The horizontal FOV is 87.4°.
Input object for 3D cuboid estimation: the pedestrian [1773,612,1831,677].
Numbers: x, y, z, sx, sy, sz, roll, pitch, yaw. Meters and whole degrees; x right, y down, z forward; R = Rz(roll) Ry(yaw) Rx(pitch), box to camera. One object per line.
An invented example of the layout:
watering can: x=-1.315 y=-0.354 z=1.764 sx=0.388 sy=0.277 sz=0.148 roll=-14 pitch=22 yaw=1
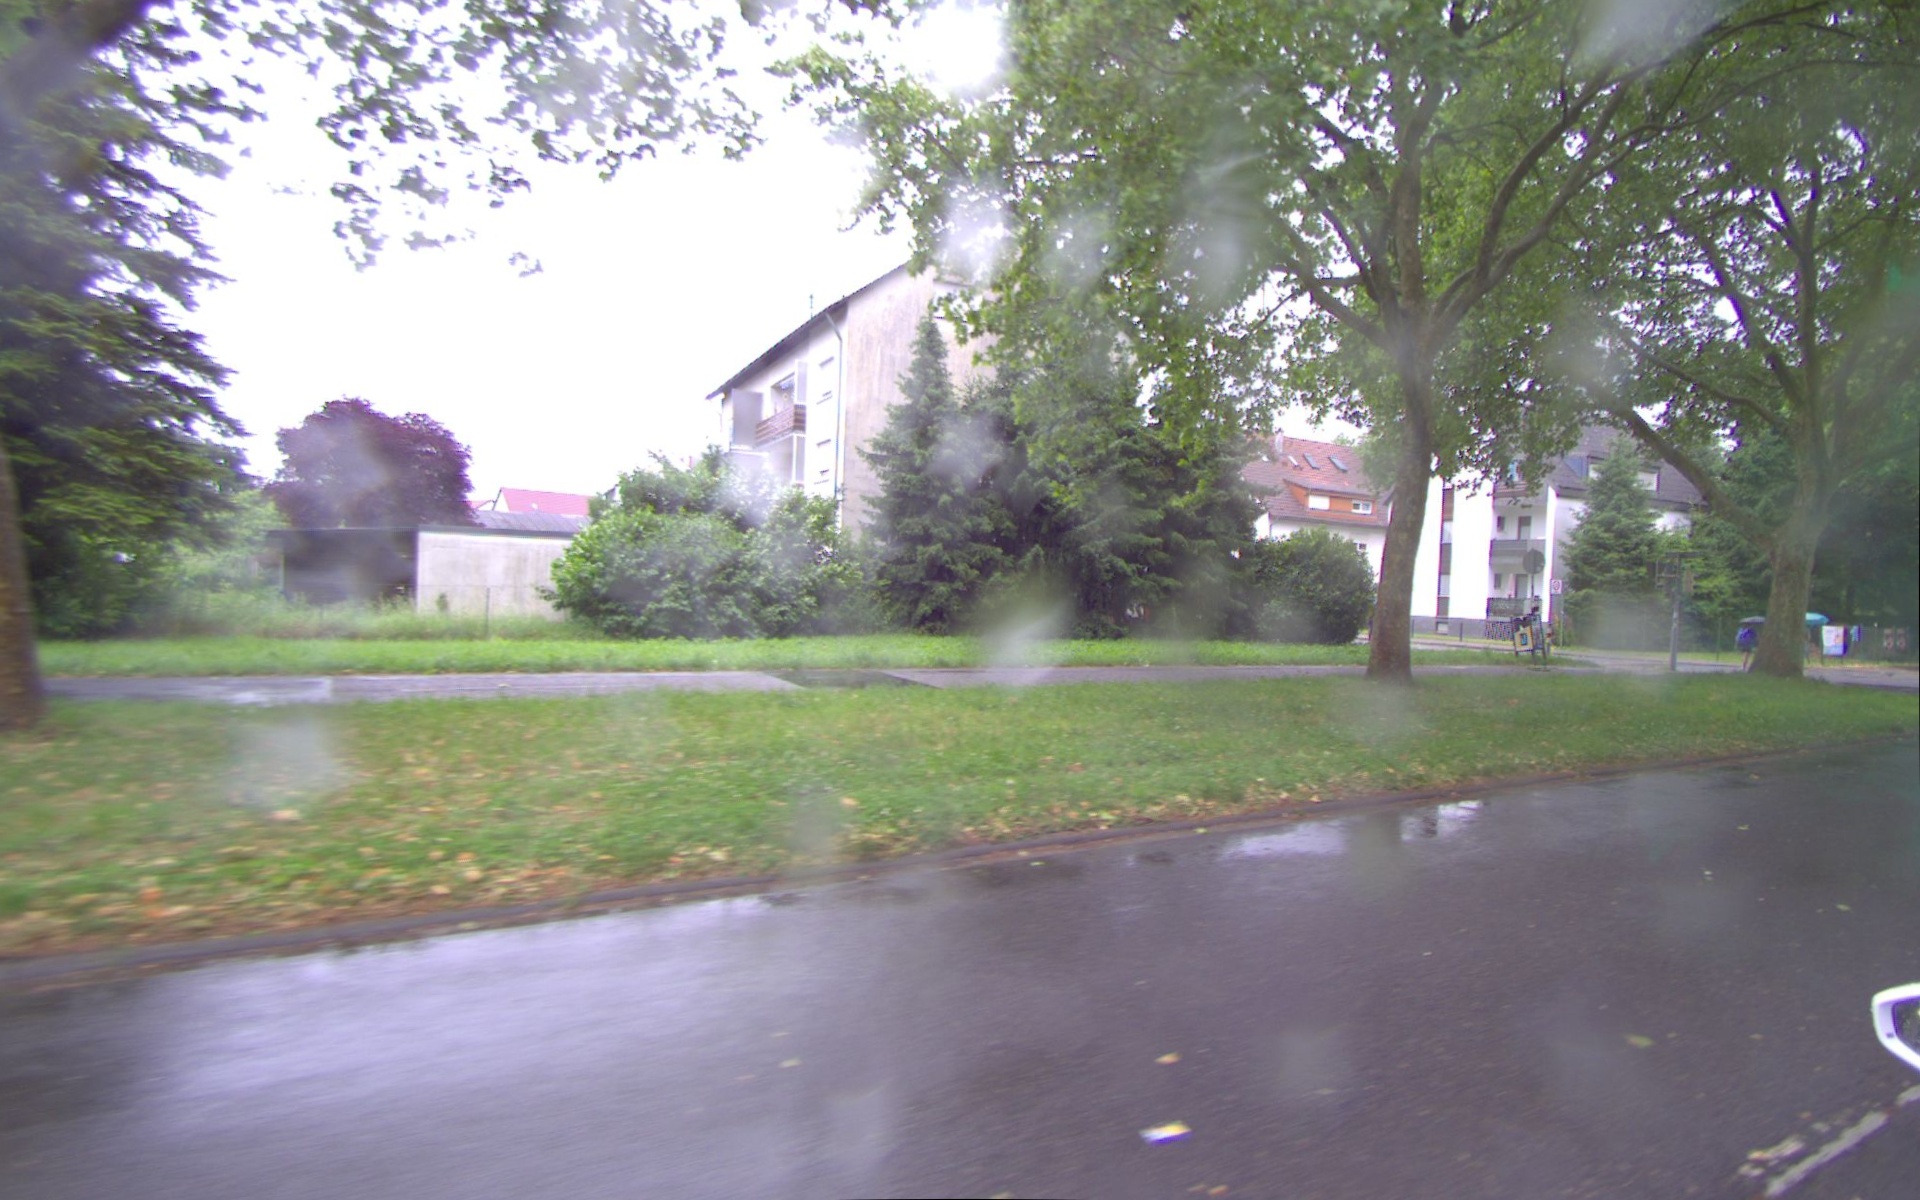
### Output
pedestrian: x=24.151 y=1.258 z=28.813 sx=0.828 sy=1.789 sz=1.028 roll=1 pitch=0 yaw=-30

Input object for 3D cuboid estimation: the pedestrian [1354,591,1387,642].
pedestrian: x=14.615 y=0.576 z=35.765 sx=0.633 sy=1.768 sz=0.815 roll=2 pitch=1 yaw=-33

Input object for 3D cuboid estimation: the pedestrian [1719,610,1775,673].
pedestrian: x=23.366 y=1.220 z=29.822 sx=0.869 sy=1.789 sz=1.028 roll=1 pitch=0 yaw=-30

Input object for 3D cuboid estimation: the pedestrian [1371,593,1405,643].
pedestrian: x=15.392 y=0.638 z=36.159 sx=0.633 sy=1.768 sz=0.854 roll=2 pitch=1 yaw=-33
